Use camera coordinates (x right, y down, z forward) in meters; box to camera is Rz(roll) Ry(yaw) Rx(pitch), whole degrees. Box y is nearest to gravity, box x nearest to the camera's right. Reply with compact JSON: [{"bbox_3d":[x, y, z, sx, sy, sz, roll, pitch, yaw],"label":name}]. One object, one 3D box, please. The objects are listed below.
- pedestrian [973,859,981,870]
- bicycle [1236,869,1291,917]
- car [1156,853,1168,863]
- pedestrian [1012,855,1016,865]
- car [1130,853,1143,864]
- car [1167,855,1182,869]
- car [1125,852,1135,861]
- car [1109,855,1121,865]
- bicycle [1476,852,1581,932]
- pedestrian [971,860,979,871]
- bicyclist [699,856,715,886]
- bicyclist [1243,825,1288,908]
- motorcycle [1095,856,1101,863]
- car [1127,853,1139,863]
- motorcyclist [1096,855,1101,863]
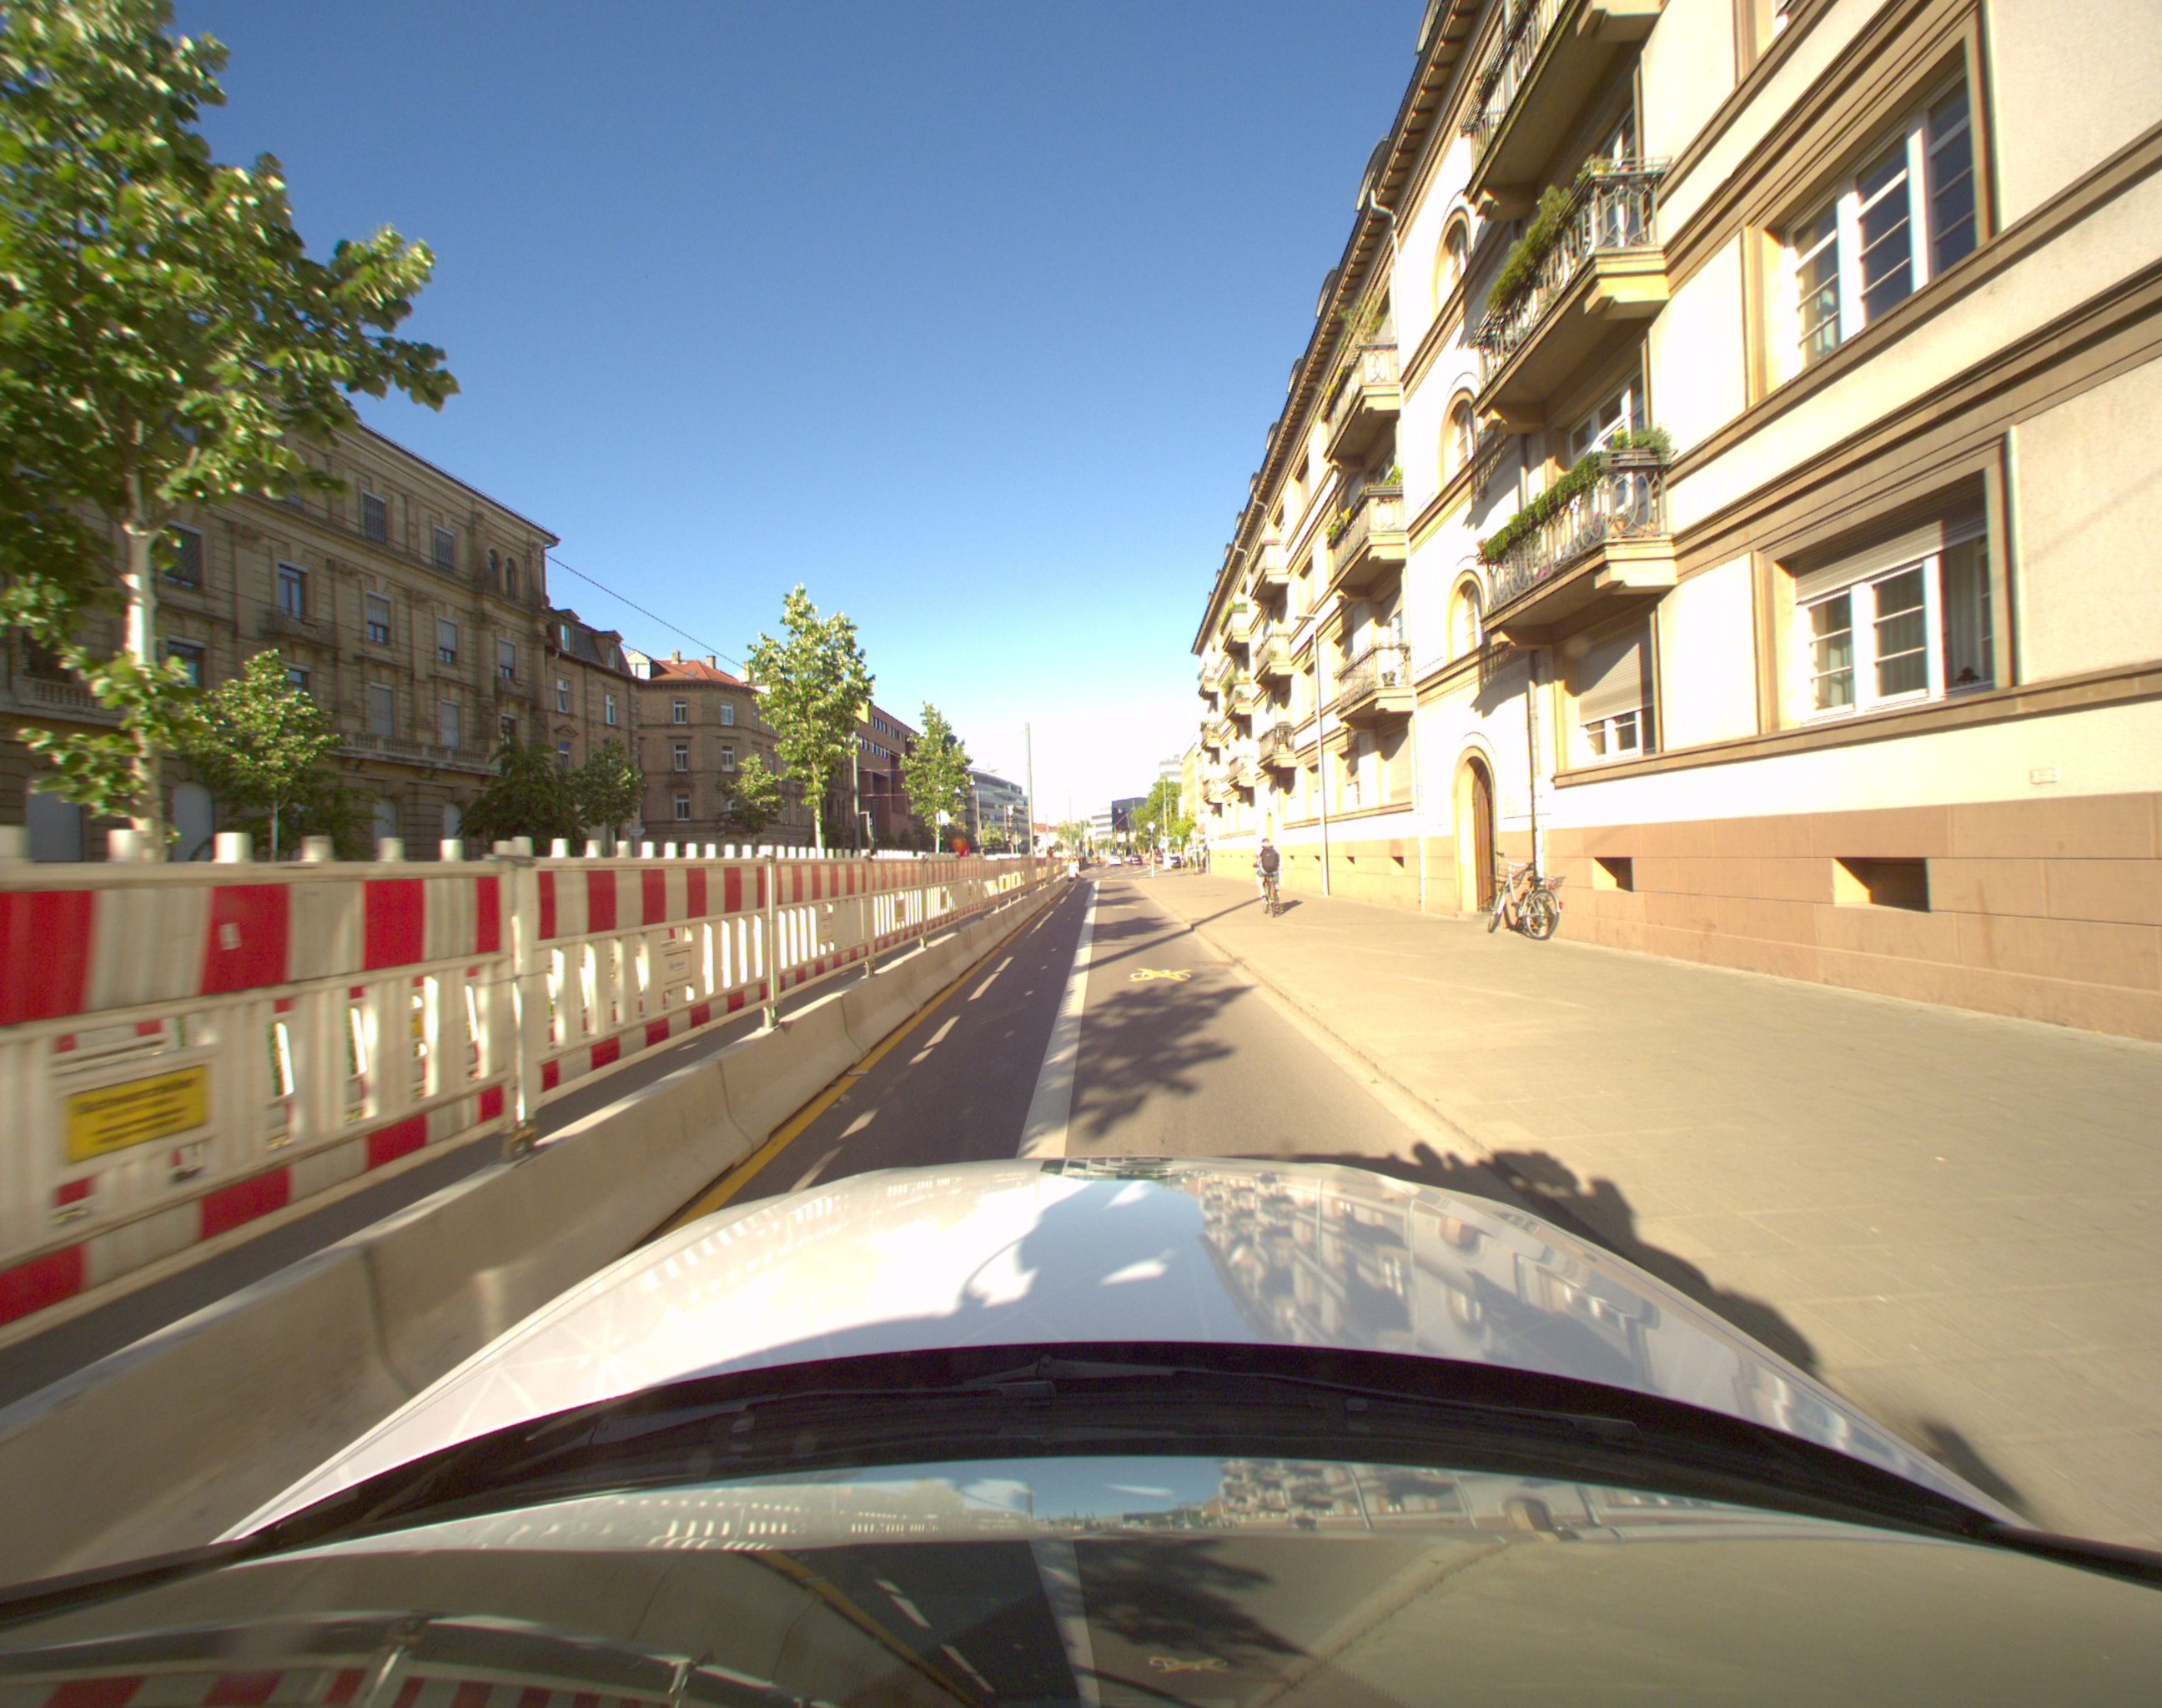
[{"bbox_3d":[-11.964,1.199,93.821,0.643,1.309,0.722,-4,-1,2],"label":"pedestrian"},{"bbox_3d":[4.108,0.854,18.519,0.764,0.953,2.198,-2,0,1],"label":"bicycle"},{"bbox_3d":[14.192,0.690,142.645,1.839,1.560,4.636,0,2,2],"label":"car"},{"bbox_3d":[-10.769,0.937,130.383,0.638,1.696,0.541,0,0,2],"label":"pedestrian"},{"bbox_3d":[8.973,0.661,130.796,1.967,1.759,4.635,0,0,2],"label":"car"},{"bbox_3d":[11.717,0.956,101.628,1.711,1.637,4.241,-3,0,8],"label":"car"},{"bbox_3d":[9.352,0.470,155.528,1.844,1.497,4.381,-2,0,2],"label":"car"},{"bbox_3d":[5.165,0.890,125.289,1.774,1.414,4.820,0,0,2],"label":"car"},{"bbox_3d":[6.695,0.526,12.314,0.416,1.095,2.199,-2,0,2],"label":"bicycle"},{"bbox_3d":[-11.911,1.269,91.812,0.718,1.168,0.722,-4,-1,2],"label":"pedestrian"},{"bbox_3d":[-22.806,1.039,49.673,0.886,1.774,0.849,-1,-1,-25],"label":"bicyclist"},{"bbox_3d":[4.094,0.276,18.144,0.730,1.763,0.938,-2,0,1],"label":"bicyclist"},{"bbox_3d":[3.219,1.073,150.993,1.015,1.312,2.916,0,0,2],"label":"motorcycle"},{"bbox_3d":[8.779,0.698,138.597,1.844,1.640,4.380,-1,-1,2],"label":"car"},{"bbox_3d":[3.217,0.899,151.067,1.015,1.603,1.149,0,0,2],"label":"motorcyclist"}]
